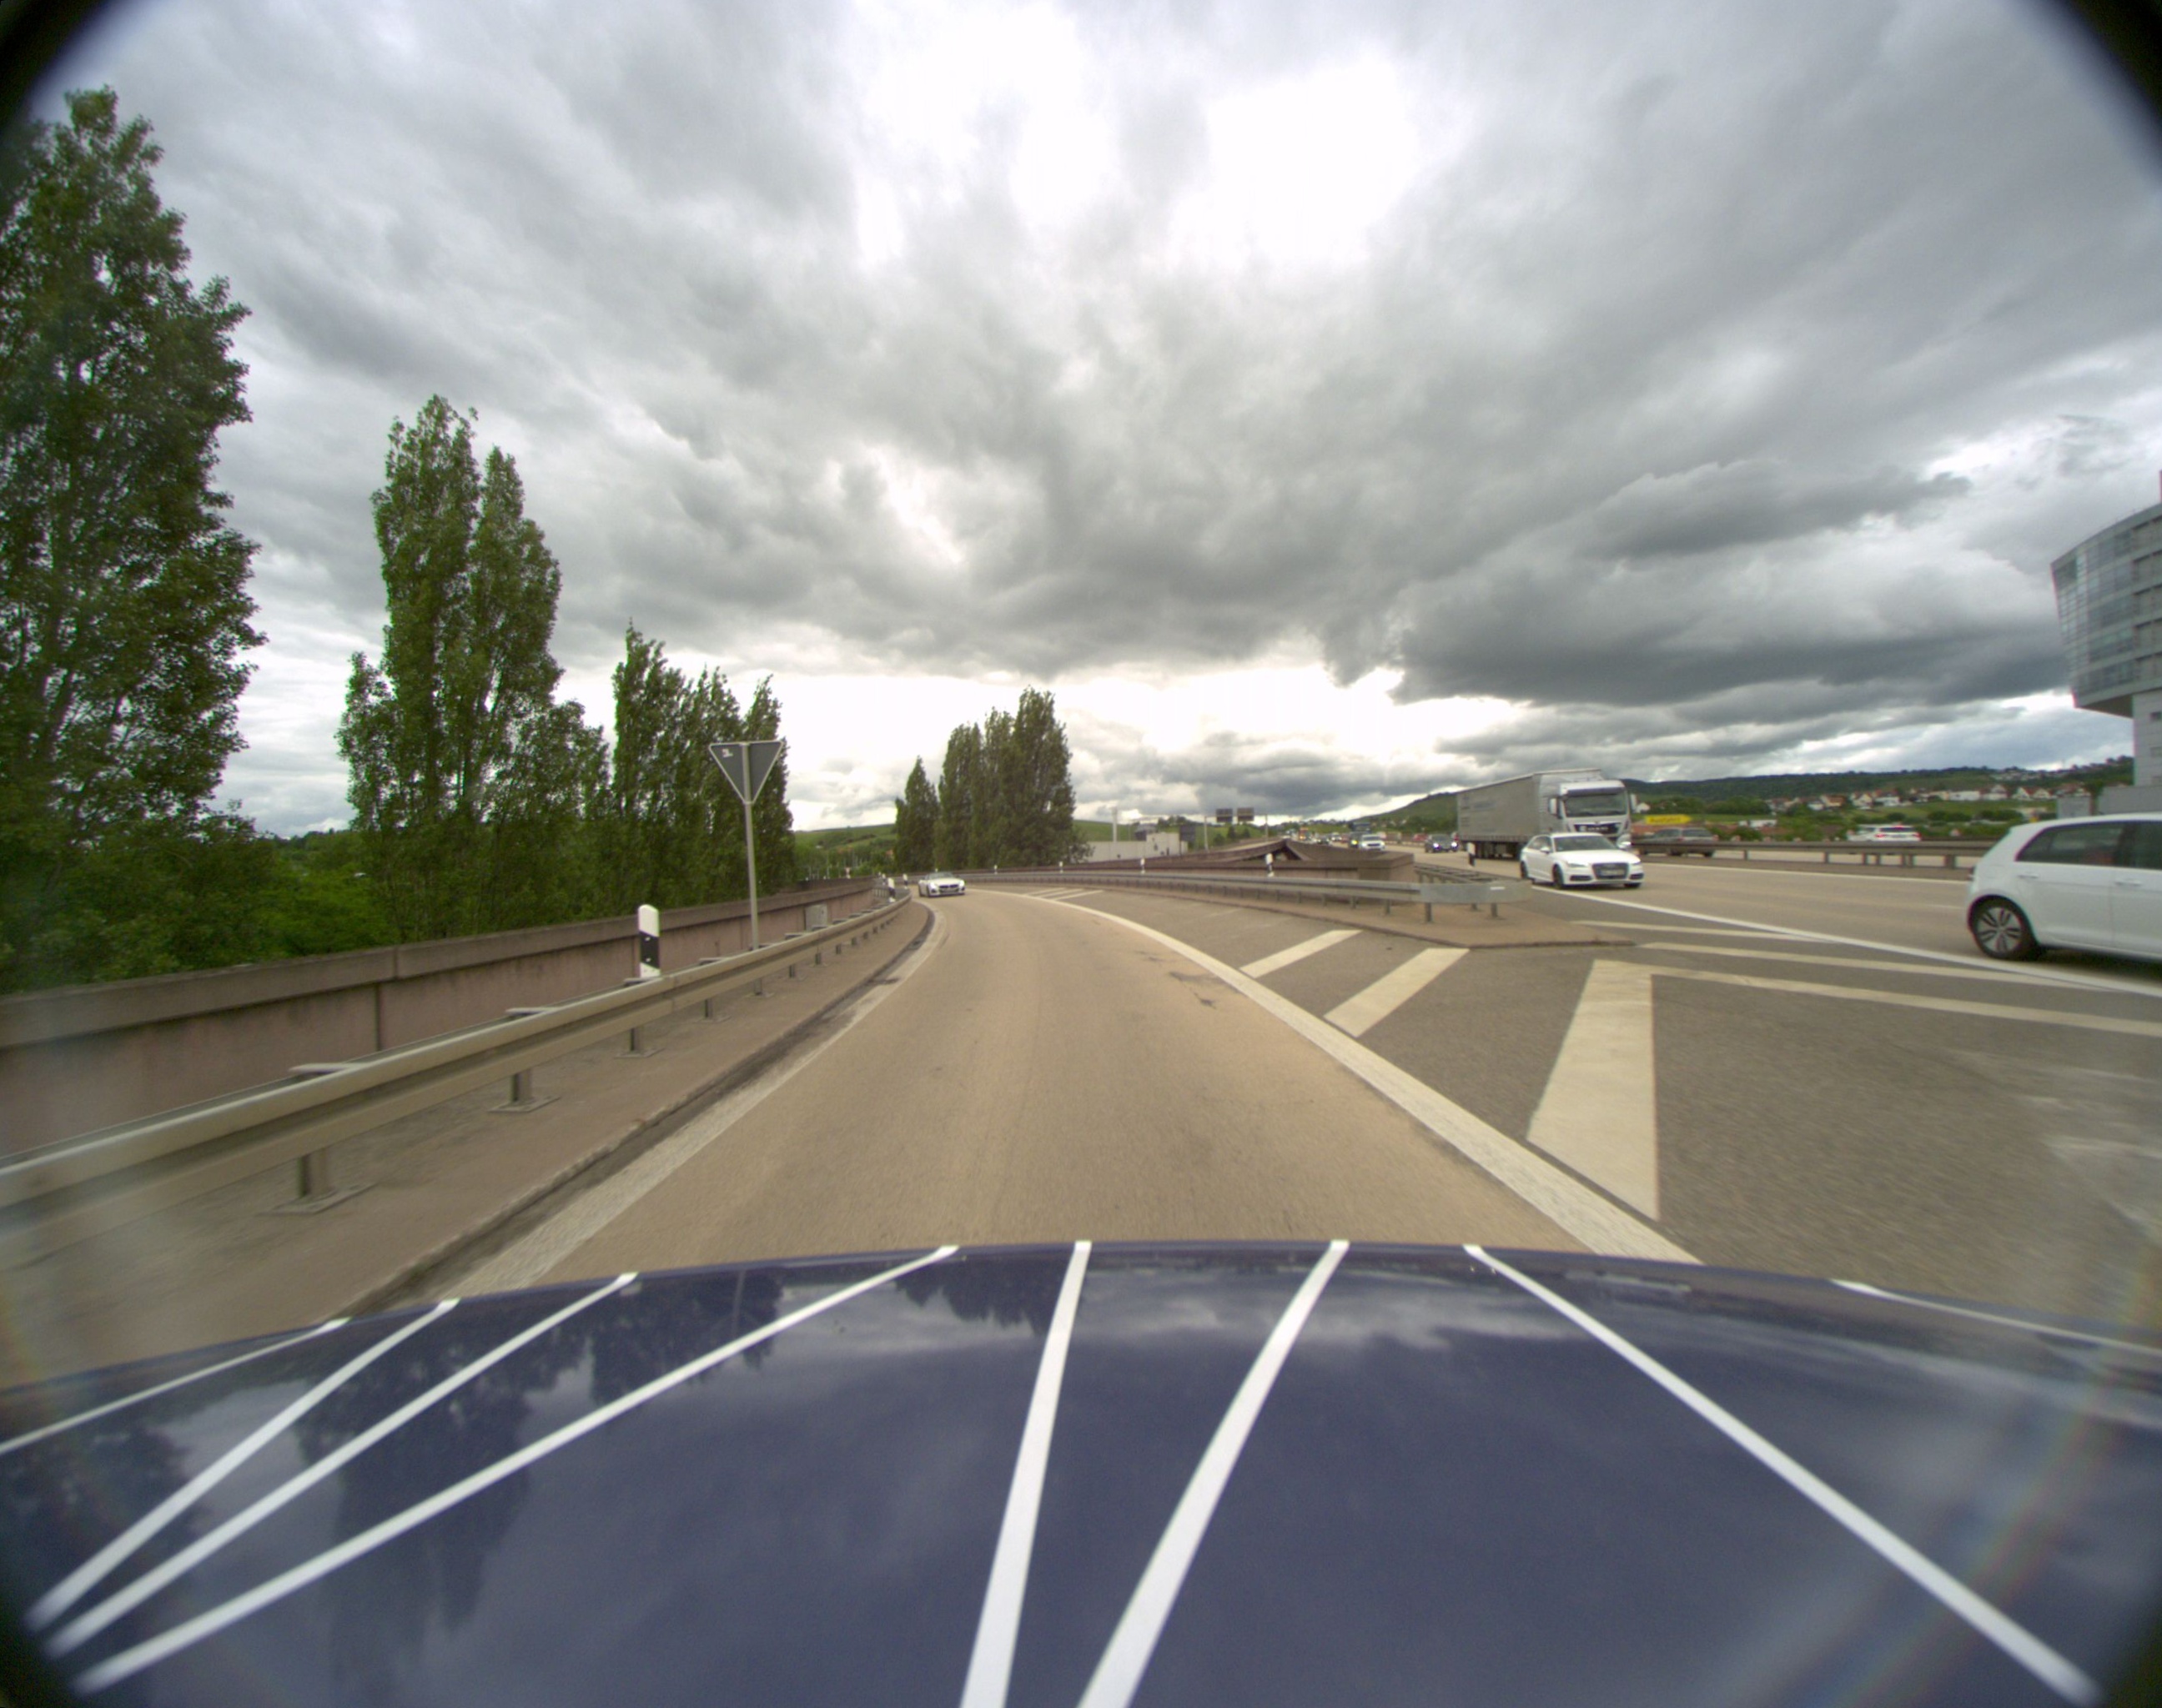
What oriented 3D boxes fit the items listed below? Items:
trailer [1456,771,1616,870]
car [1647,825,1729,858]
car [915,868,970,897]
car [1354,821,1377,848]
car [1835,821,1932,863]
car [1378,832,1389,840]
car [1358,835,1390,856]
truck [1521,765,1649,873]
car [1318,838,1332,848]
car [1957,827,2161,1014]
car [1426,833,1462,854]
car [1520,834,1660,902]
[{"bbox_3d":[22.297,-1.536,38.477,2.860,3.988,13.985,-2,1,14],"label":"trailer"},{"bbox_3d":[29.160,-0.601,36.659,1.647,1.509,3.843,1,1,14],"label":"car"},{"bbox_3d":[-7.373,1.452,40.181,1.866,1.337,4.816,-2,0,-22],"label":"car"},{"bbox_3d":[40.875,-2.726,109.308,2.361,3.639,4.804,-4,0,15],"label":"car"},{"bbox_3d":[43.981,-0.696,41.770,1.996,2.002,4.005,-7,0,21],"label":"car"},{"bbox_3d":[65.764,-3.954,165.106,1.685,1.509,3.654,-4,0,15],"label":"car"},{"bbox_3d":[25.625,-0.760,66.554,1.996,1.672,4.004,-2,0,13],"label":"car"},{"bbox_3d":[20.604,-1.370,31.411,2.860,3.988,4.796,-2,1,14],"label":"truck"},{"bbox_3d":[42.104,-1.906,131.124,1.996,1.672,4.005,-2,0,20],"label":"car"},{"bbox_3d":[9.522,0.522,5.791,1.711,1.488,4.004,-2,0,14],"label":"car"},{"bbox_3d":[28.185,-0.815,59.108,1.785,1.509,4.004,-4,0,15],"label":"car"},{"bbox_3d":[13.039,0.323,19.748,1.785,1.509,4.004,-3,0,15],"label":"car"}]
